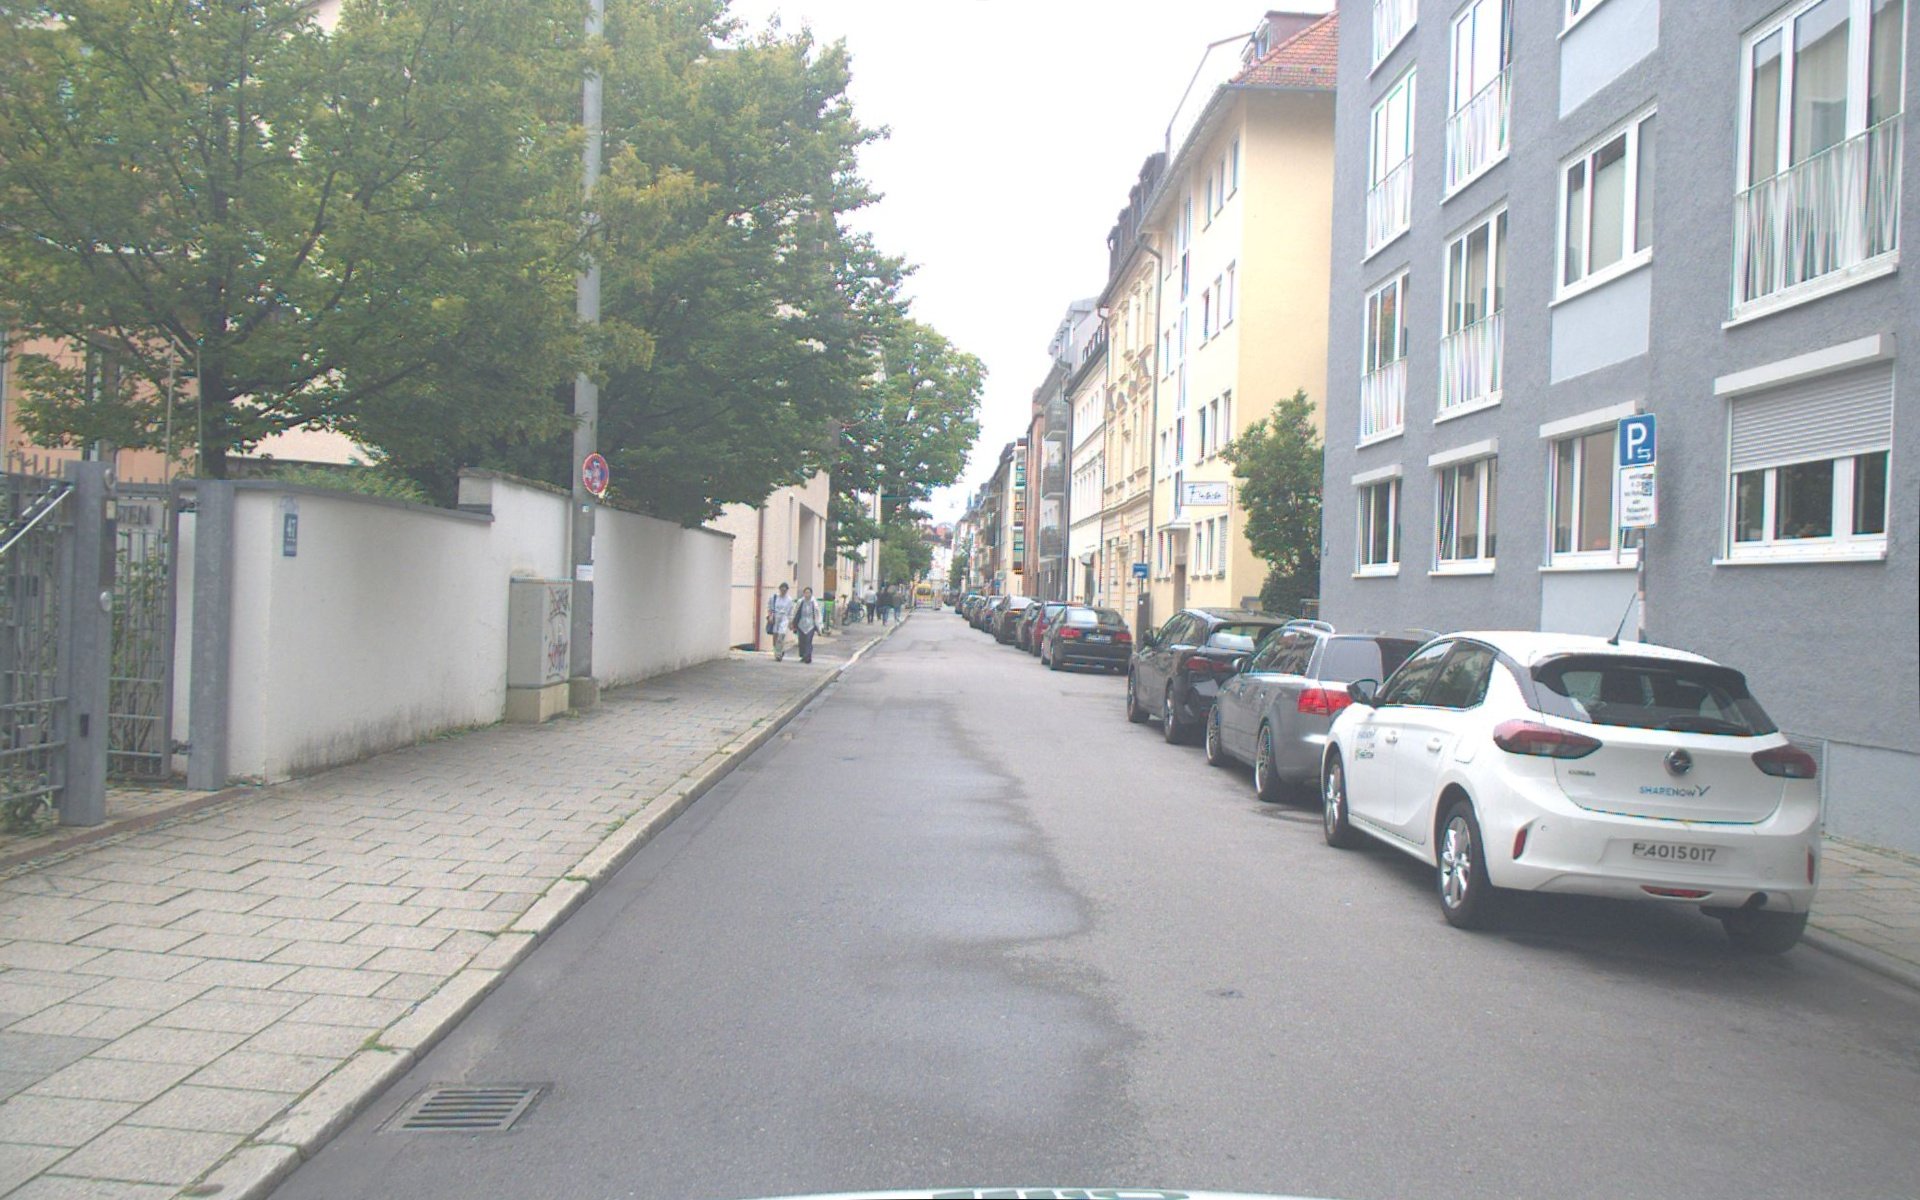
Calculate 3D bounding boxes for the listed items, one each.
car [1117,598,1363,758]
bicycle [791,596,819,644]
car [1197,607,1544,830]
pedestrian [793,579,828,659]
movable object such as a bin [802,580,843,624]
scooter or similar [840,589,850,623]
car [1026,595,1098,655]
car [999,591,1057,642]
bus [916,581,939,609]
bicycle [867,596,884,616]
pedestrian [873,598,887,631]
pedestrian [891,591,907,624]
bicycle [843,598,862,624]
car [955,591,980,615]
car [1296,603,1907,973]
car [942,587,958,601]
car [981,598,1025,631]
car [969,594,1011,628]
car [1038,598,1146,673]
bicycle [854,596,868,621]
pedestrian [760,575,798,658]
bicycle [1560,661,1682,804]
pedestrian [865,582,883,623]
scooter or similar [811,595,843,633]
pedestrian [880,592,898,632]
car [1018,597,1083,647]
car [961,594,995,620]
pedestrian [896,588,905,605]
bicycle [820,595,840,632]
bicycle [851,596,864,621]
[{"bbox_3d":[3.085,0.800,19.134,1.805,1.453,4.261,6,0,-3],"label":"car"},{"bbox_3d":[-3.924,0.498,42.061,0.527,1.158,1.916,3,0,-2],"label":"bicycle"},{"bbox_3d":[3.310,0.872,14.276,1.754,1.425,4.485,6,0,0],"label":"car"},{"bbox_3d":[-3.106,0.395,34.449,0.610,1.606,0.714,3,-1,-2],"label":"pedestrian"},{"bbox_3d":[-5.072,0.050,60.939,1.150,1.466,1.249,7,1,5],"label":"movable object such as a bin"},{"bbox_3d":[-4.787,0.262,69.019,0.311,1.400,1.239,1,-1,-1],"label":"scooter or similar"},{"bbox_3d":[2.796,0.661,46.182,1.642,1.518,3.852,2,0,-1],"label":"car"},{"bbox_3d":[2.324,0.533,57.332,1.667,1.635,4.683,2,0,-1],"label":"car"},{"bbox_3d":[-3.751,-0.557,189.677,2.540,3.156,6.304,1,0,-1],"label":"bus"},{"bbox_3d":[-5.298,0.347,103.565,0.632,1.239,1.655,1,0,-20],"label":"bicycle"},{"bbox_3d":[-4.350,0.783,89.760,0.600,1.743,0.823,4,-1,-2],"label":"pedestrian"},{"bbox_3d":[-3.287,0.407,89.498,0.738,1.688,0.906,4,-1,-1],"label":"pedestrian"},{"bbox_3d":[-4.598,0.465,70.755,0.690,1.001,1.821,6,-1,-5],"label":"bicycle"},{"bbox_3d":[0.650,0.268,143.950,1.766,1.851,3.998,5,0,-3],"label":"car"},{"bbox_3d":[3.319,0.850,9.586,1.733,1.470,4.344,6,0,0],"label":"car"},{"bbox_3d":[-1.358,-0.806,221.821,1.766,1.741,3.825,5,0,-3],"label":"car"},{"bbox_3d":[1.853,0.628,72.817,1.771,1.387,3.945,1,0,-1],"label":"car"},{"bbox_3d":[1.489,0.537,82.615,1.803,1.555,4.291,2,0,-2],"label":"car"},{"bbox_3d":[2.839,0.726,36.379,1.789,1.357,4.507,6,0,-2],"label":"car"},{"bbox_3d":[-4.843,0.416,80.609,0.551,1.179,1.718,2,0,-7],"label":"bicycle"},{"bbox_3d":[-3.740,0.335,34.278,0.601,1.649,0.687,4,-1,-1],"label":"pedestrian"},{"bbox_3d":[5.883,1.148,14.794,0.369,1.129,1.686,2,0,-1],"label":"bicycle"},{"bbox_3d":[-3.967,0.132,76.255,0.704,1.828,0.916,3,-1,-1],"label":"pedestrian"},{"bbox_3d":[-4.300,0.457,53.629,0.540,1.163,1.359,4,0,15],"label":"scooter or similar"},{"bbox_3d":[-3.268,0.536,76.381,0.704,1.796,0.838,3,-1,-1],"label":"pedestrian"},{"bbox_3d":[2.733,0.642,50.873,1.642,1.417,4.064,2,0,-1],"label":"car"},{"bbox_3d":[1.162,0.443,107.368,1.848,1.582,4.389,2,0,-3],"label":"car"},{"bbox_3d":[-5.422,-0.287,150.960,0.740,1.517,0.831,1,-1,-1],"label":"pedestrian"},{"bbox_3d":[-4.384,0.451,55.693,0.533,1.181,1.881,3,0,-3],"label":"bicycle"},{"bbox_3d":[-4.888,0.405,78.892,0.449,1.179,1.605,4,0,0],"label":"bicycle"}]
